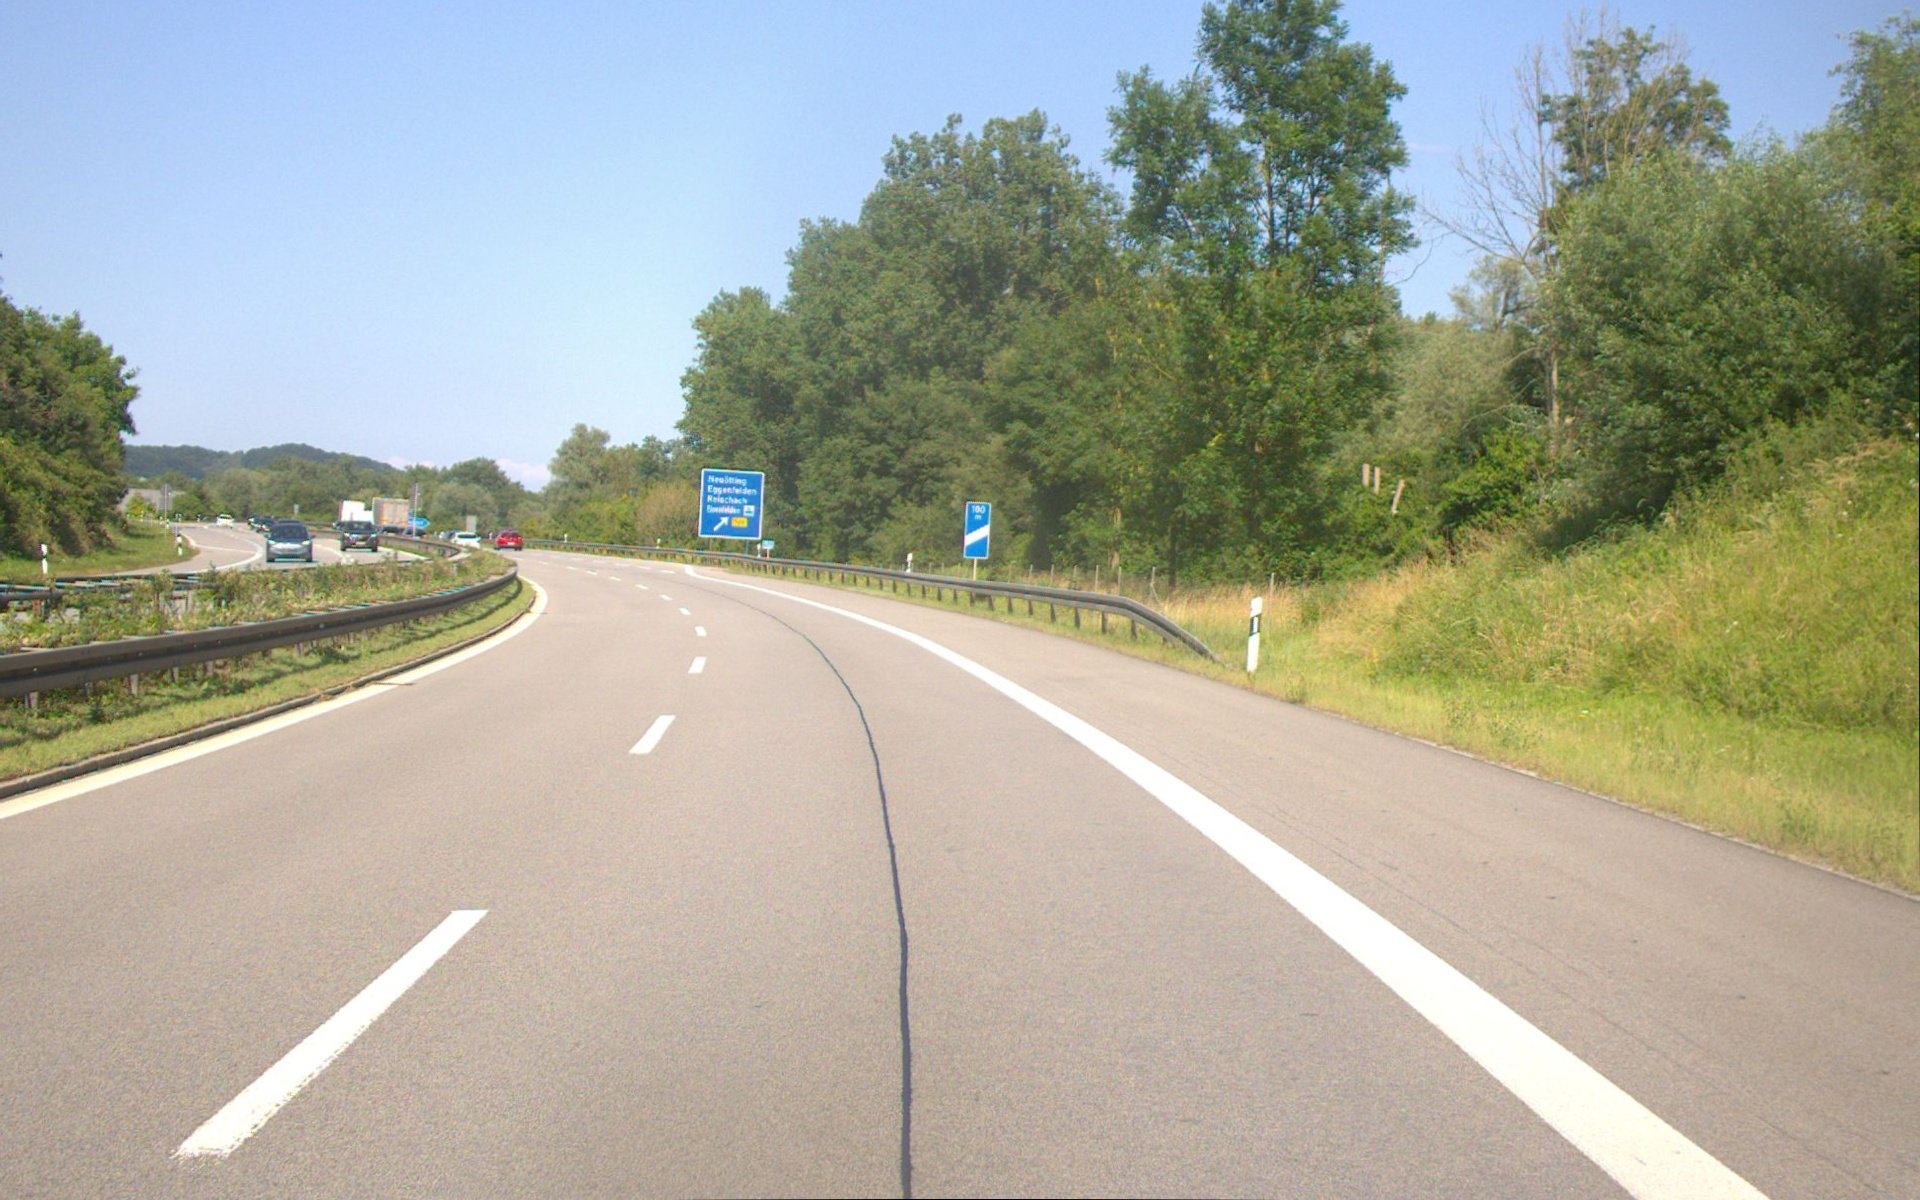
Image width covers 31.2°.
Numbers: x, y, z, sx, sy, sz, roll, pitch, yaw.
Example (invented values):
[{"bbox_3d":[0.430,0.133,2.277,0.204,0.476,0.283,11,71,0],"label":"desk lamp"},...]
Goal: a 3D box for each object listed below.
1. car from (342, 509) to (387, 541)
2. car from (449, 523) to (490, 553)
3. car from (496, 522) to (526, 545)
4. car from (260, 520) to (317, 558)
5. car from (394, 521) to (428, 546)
[{"bbox_3d":[-31.665,-4.013,182.926,2.067,1.673,4.888,0,1,-7],"label":"car"},{"bbox_3d":[-29.881,-3.766,209.471,2.061,1.619,4.001,2,-1,-14],"label":"car"},{"bbox_3d":[-32.537,-4.834,249.099,1.783,1.426,4.001,6,-1,-11],"label":"car"},{"bbox_3d":[-27.107,-2.461,138.861,1.819,1.475,4.686,2,1,-6],"label":"car"},{"bbox_3d":[-39.366,-4.732,246.473,1.993,1.744,4.001,0,1,-14],"label":"car"}]
